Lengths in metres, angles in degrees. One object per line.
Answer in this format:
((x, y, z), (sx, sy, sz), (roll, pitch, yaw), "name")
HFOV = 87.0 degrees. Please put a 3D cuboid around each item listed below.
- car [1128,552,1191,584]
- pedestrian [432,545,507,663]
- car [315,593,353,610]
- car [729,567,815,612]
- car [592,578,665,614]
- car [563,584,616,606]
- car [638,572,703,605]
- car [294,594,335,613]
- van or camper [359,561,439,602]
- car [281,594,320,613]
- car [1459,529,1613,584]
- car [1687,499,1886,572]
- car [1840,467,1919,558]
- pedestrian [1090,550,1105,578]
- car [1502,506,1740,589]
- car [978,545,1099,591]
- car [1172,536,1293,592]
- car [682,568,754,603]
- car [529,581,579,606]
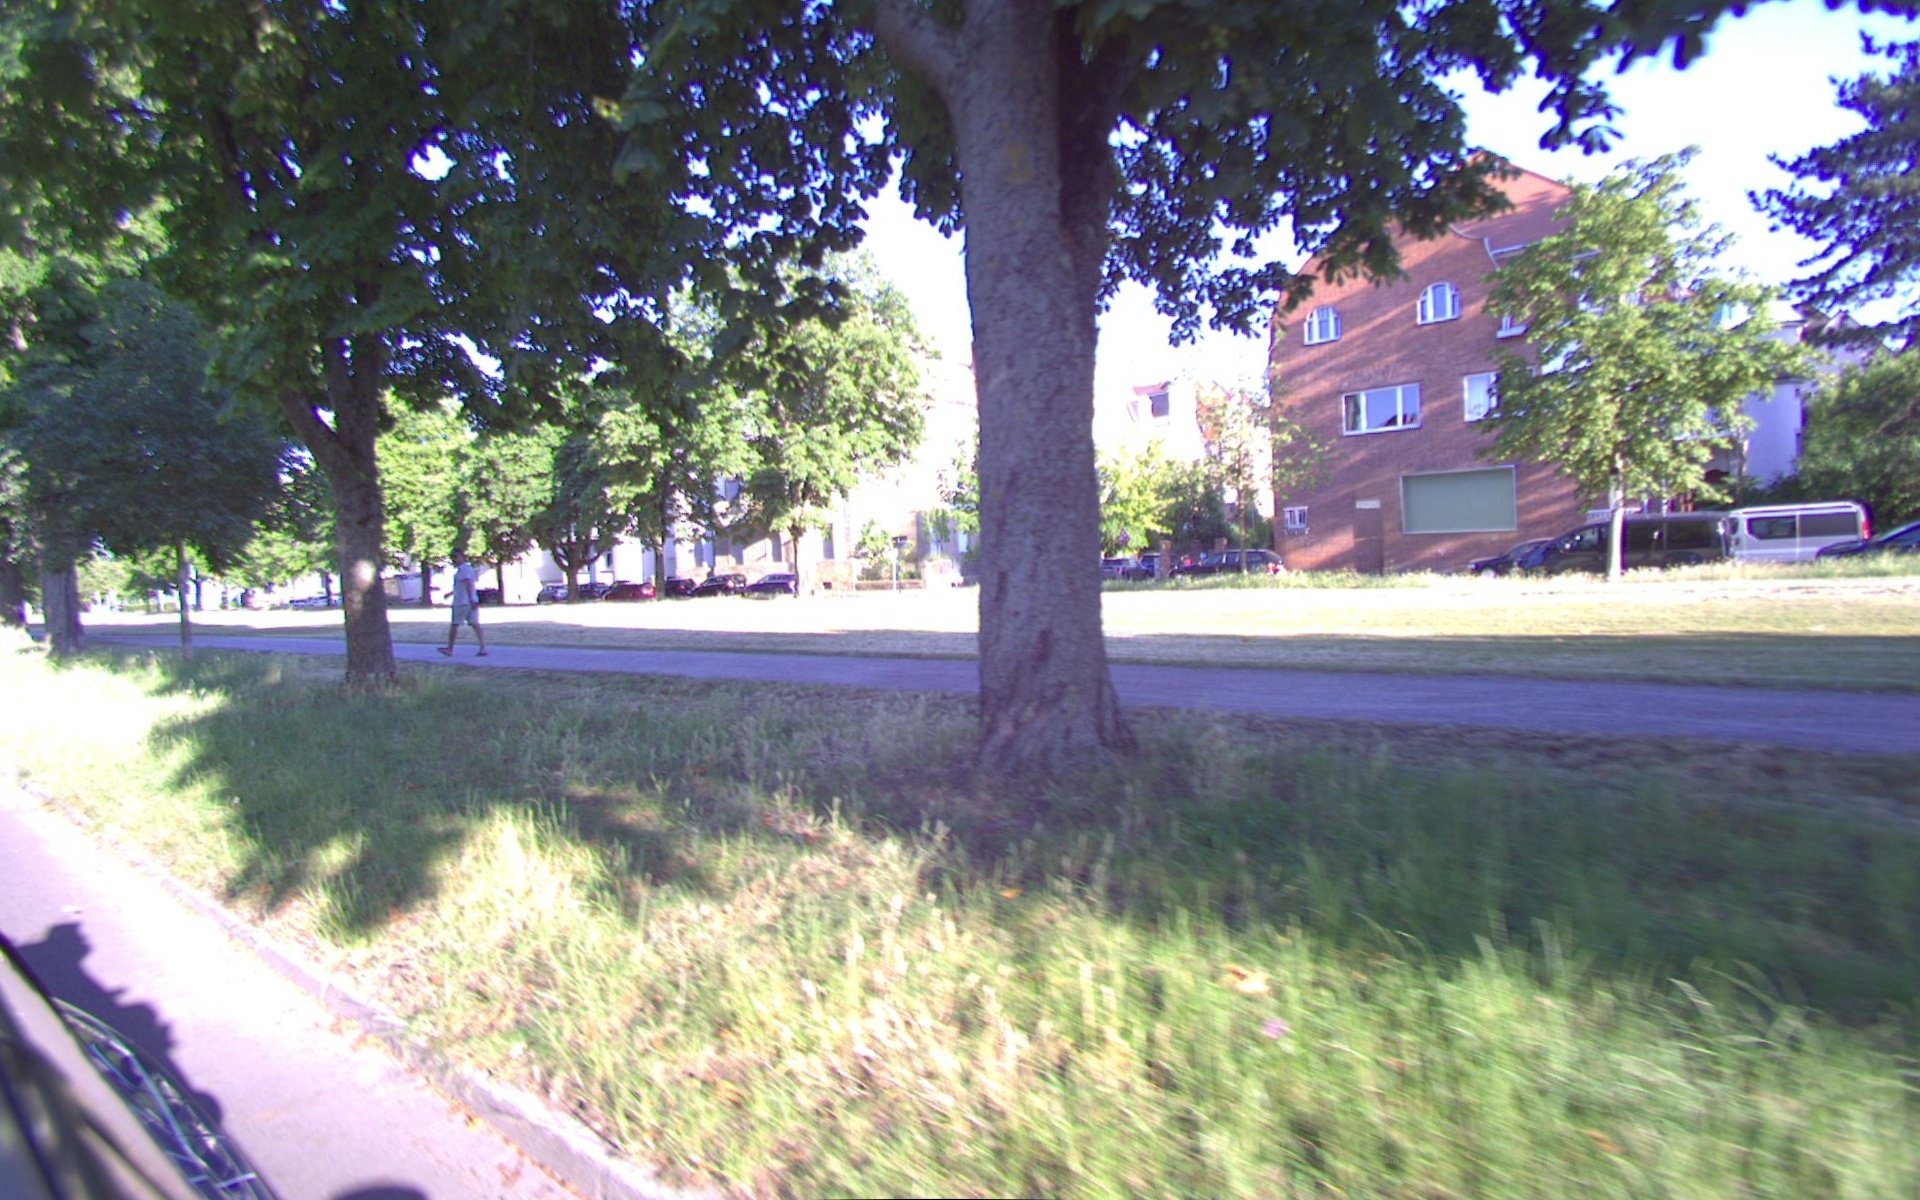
((11.287, -1.822, 57.101), (1.834, 1.585, 3.859), (-1, 3, 40), "car")
((-7.766, 0.053, 16.013), (0.716, 1.770, 0.994), (-5, 3, -43), "pedestrian")
((-69.385, 0.214, 112.140), (4.870, 1.702, 1.975), (-1, 3, 39), "car")
((-11.278, -0.570, 60.684), (4.994, 1.763, 1.978), (-7, -17, 34), "car")
((-20.070, -0.237, 61.104), (4.875, 2.028, 1.973), (0, 3, 43), "car")
((-27.747, -0.377, 75.702), (4.168, 1.440, 1.973), (-1, 3, 43), "car")
((-19.488, -0.763, 68.126), (4.425, 2.028, 1.974), (-1, 3, 39), "car")
((-62.142, 0.348, 97.457), (4.873, 1.702, 1.973), (-1, 3, 41), "car")
((-46.958, -1.515, 84.600), (7.893, 3.133, 3.221), (-1, 3, 41), "van or camper")
((-66.015, 0.368, 101.311), (4.873, 1.702, 1.973), (-1, 3, 41), "car")
((19.646, -1.460, 34.620), (4.303, 1.635, 1.739), (-1, 3, 41), "car")
((24.299, -1.878, 29.889), (4.406, 1.851, 1.798), (-1, 3, 41), "car")
((23.113, -2.110, 23.512), (3.998, 2.028, 1.973), (-1, 4, 41), "car")
((9.167, -2.430, 67.510), (0.689, 1.820, 0.863), (-2, 3, 26), "pedestrian")
((18.132, -1.405, 27.942), (5.244, 1.955, 1.973), (-1, 3, 42), "car")
((3.106, -1.275, 40.839), (4.647, 1.651, 1.801), (-1, 3, 41), "car")
((11.007, -1.440, 41.093), (4.366, 2.028, 1.739), (-1, 3, 41), "car")
((-15.442, -0.925, 64.349), (4.875, 2.028, 1.973), (0, 3, 43), "car")
((-31.508, -0.516, 78.499), (4.000, 1.747, 1.973), (-1, 3, 43), "car")
